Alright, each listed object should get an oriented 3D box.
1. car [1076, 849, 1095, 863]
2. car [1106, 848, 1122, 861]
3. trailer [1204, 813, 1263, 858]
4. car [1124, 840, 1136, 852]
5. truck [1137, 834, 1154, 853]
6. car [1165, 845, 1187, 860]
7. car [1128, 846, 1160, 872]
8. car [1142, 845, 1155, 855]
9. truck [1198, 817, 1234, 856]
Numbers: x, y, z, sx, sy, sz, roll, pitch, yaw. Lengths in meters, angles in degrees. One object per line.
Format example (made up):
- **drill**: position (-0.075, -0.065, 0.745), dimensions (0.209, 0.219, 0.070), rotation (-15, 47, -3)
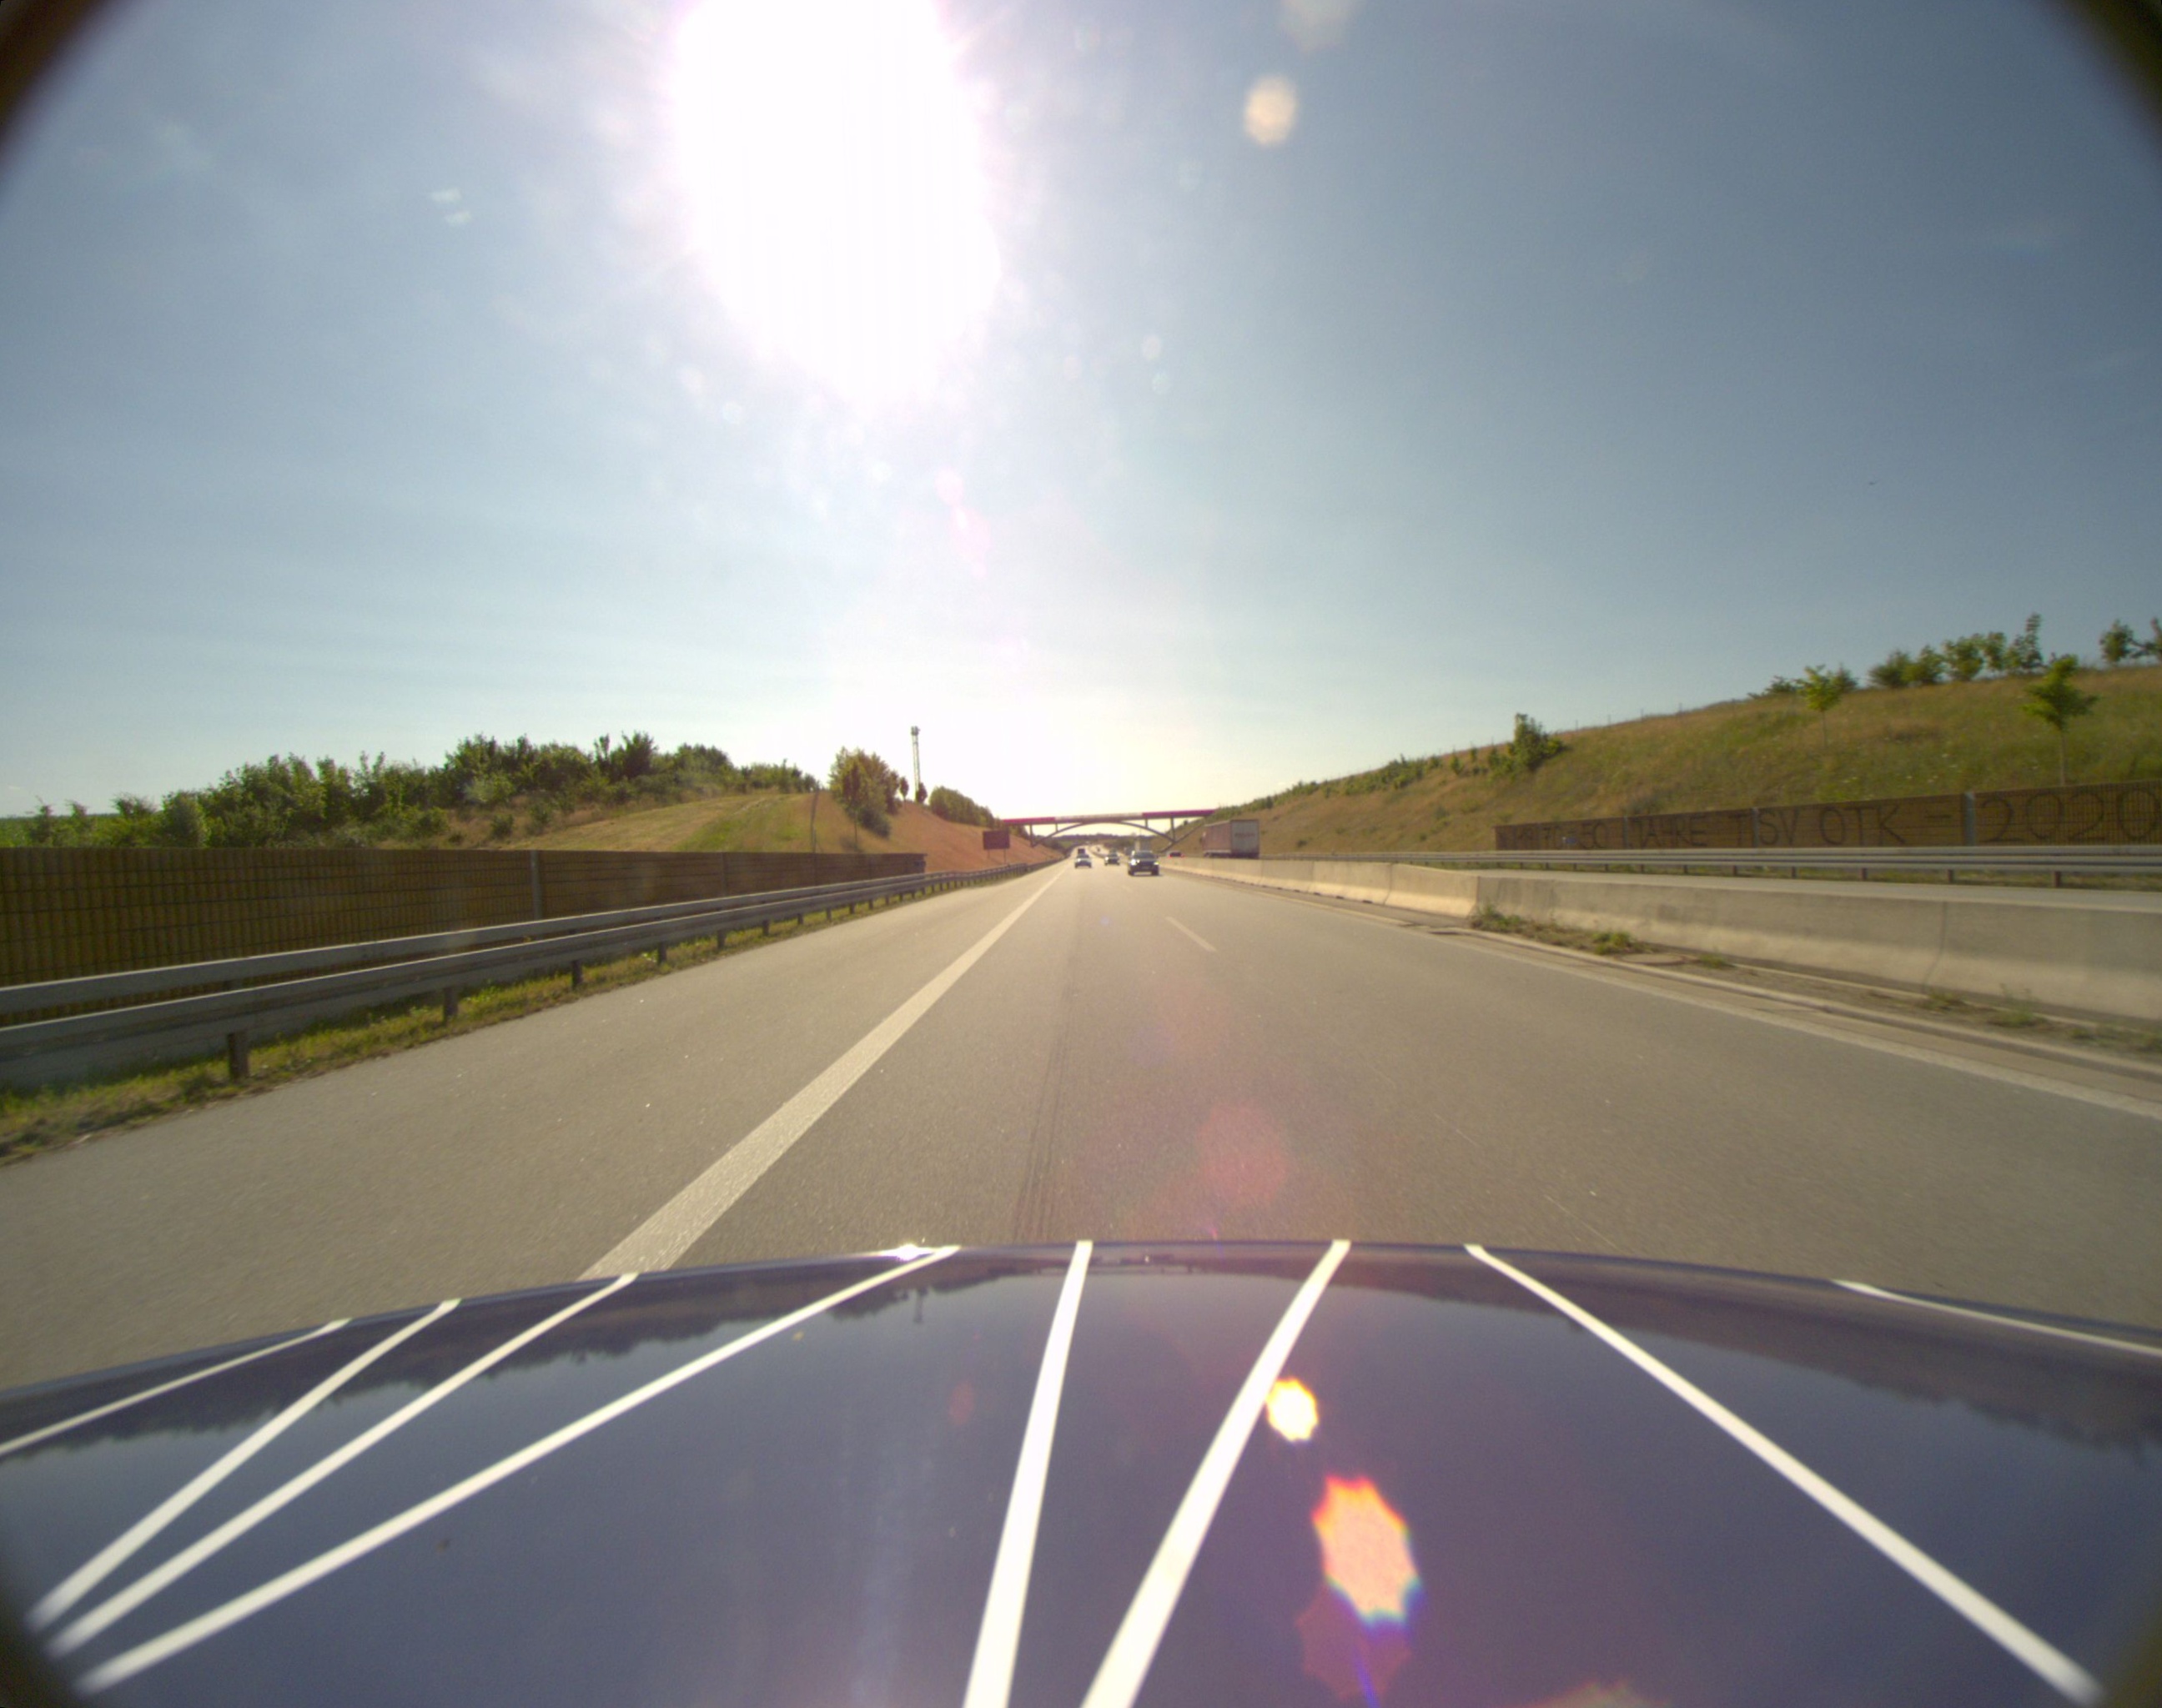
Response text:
- **car**: position (0.546, 0.209, 84.619), dimensions (1.909, 1.449, 4.375), rotation (-2, 1, 2)
- **car**: position (4.080, 0.028, 95.104), dimensions (1.776, 1.560, 4.988), rotation (-2, 1, 1)
- **trailer**: position (14.547, -1.748, 73.802), dimensions (2.645, 3.853, 13.732), rotation (-2, 1, -1)
- **car**: position (10.785, -1.748, 167.548), dimensions (2.211, 2.441, 5.831), rotation (-2, 1, -1)
- **truck**: position (15.253, -2.459, 181.388), dimensions (3.023, 4.284, 12.733), rotation (-2, 0, 1)
- **car**: position (10.660, -0.197, 85.746), dimensions (1.801, 1.584, 4.658), rotation (-2, 1, 0)
- **car**: position (4.132, 0.305, 50.608), dimensions (1.726, 1.578, 5.221), rotation (-2, 1, 1)
- **car**: position (11.133, -0.699, 125.798), dimensions (1.690, 1.496, 4.162), rotation (-2, 0, -1)
- **truck**: position (14.425, -1.865, 81.437), dimensions (2.644, 3.900, 4.892), rotation (-2, 1, -2)
